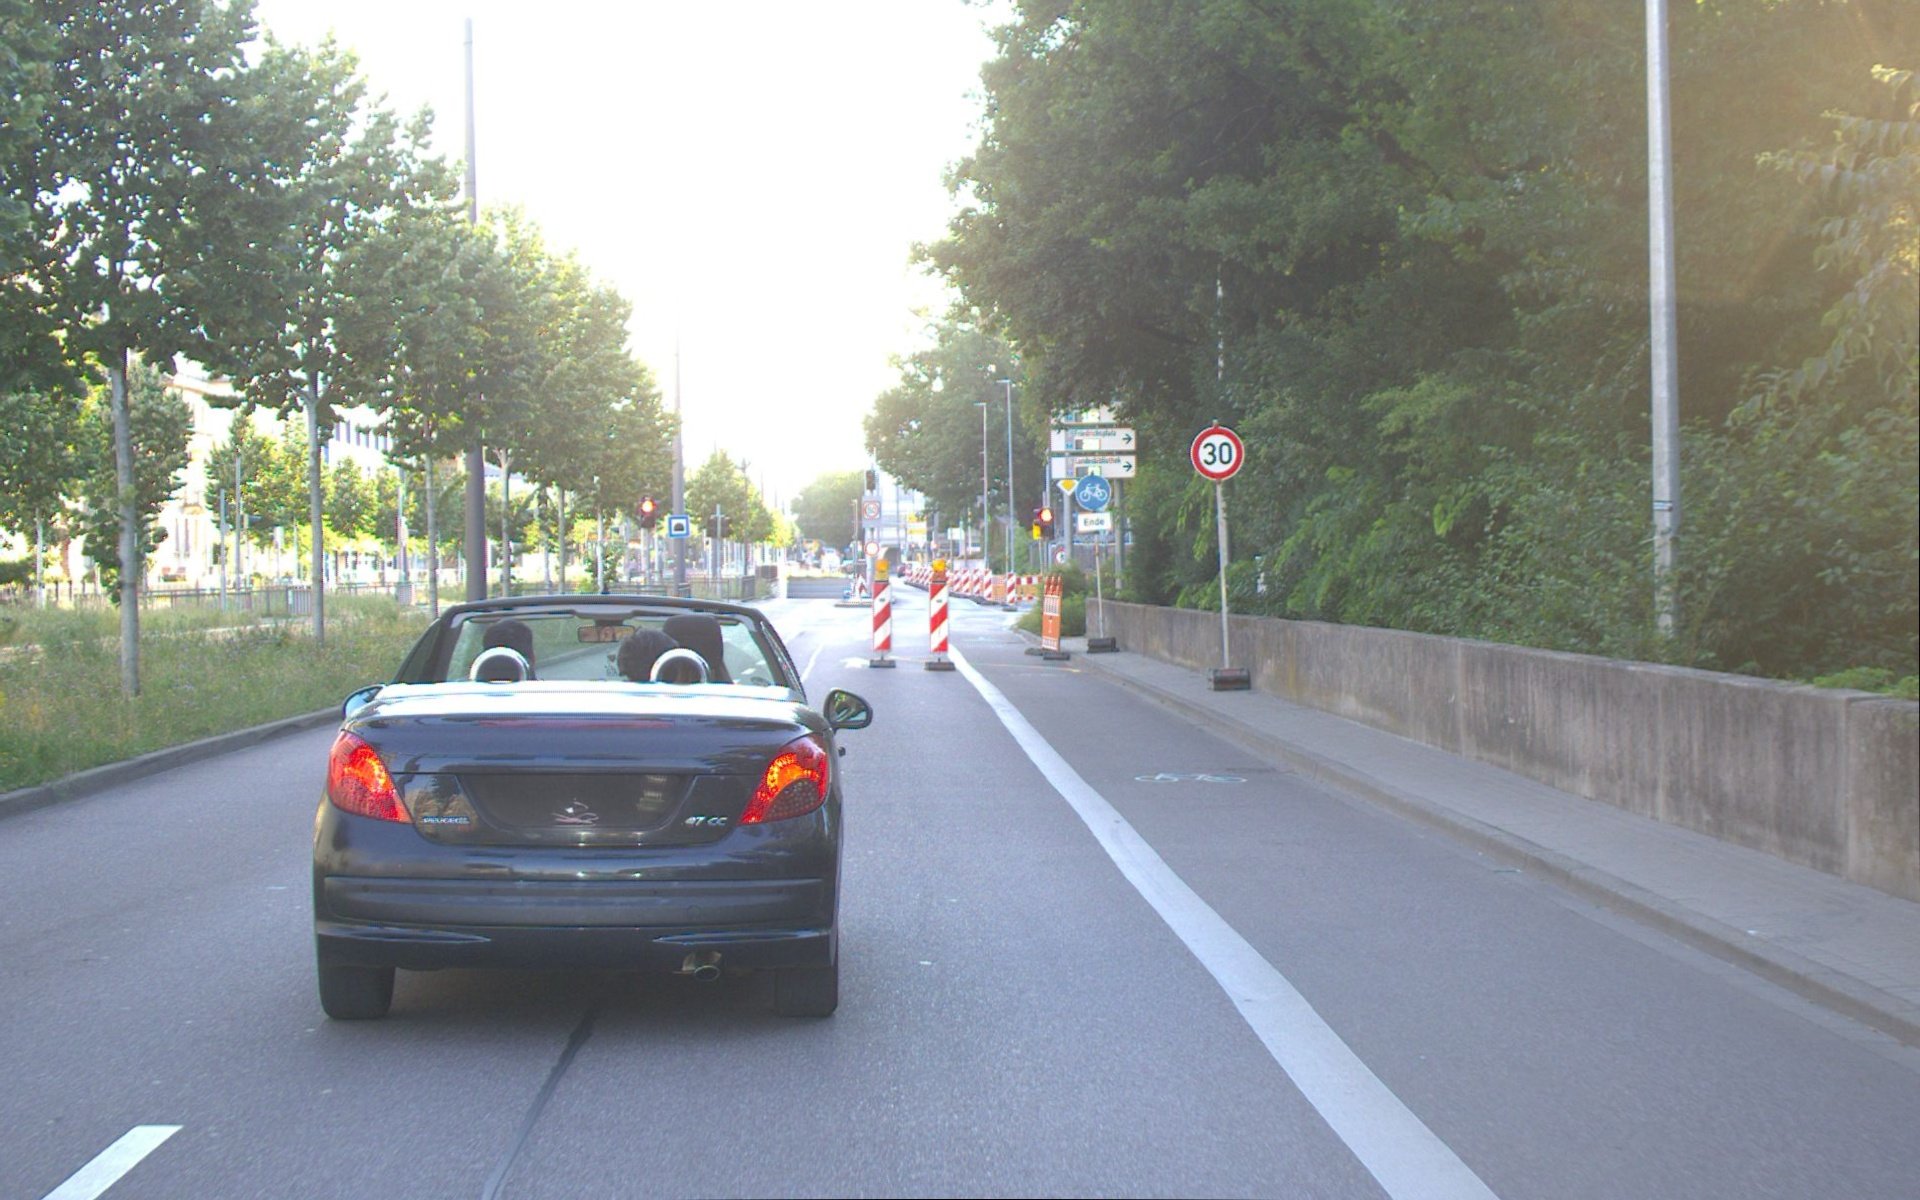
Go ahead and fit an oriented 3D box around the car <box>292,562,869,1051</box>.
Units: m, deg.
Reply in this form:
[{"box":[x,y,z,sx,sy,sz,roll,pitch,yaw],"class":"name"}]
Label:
[{"box":[-1.376,0.593,12.290,1.718,1.444,3.902,0,1,-7],"class":"car"}]
